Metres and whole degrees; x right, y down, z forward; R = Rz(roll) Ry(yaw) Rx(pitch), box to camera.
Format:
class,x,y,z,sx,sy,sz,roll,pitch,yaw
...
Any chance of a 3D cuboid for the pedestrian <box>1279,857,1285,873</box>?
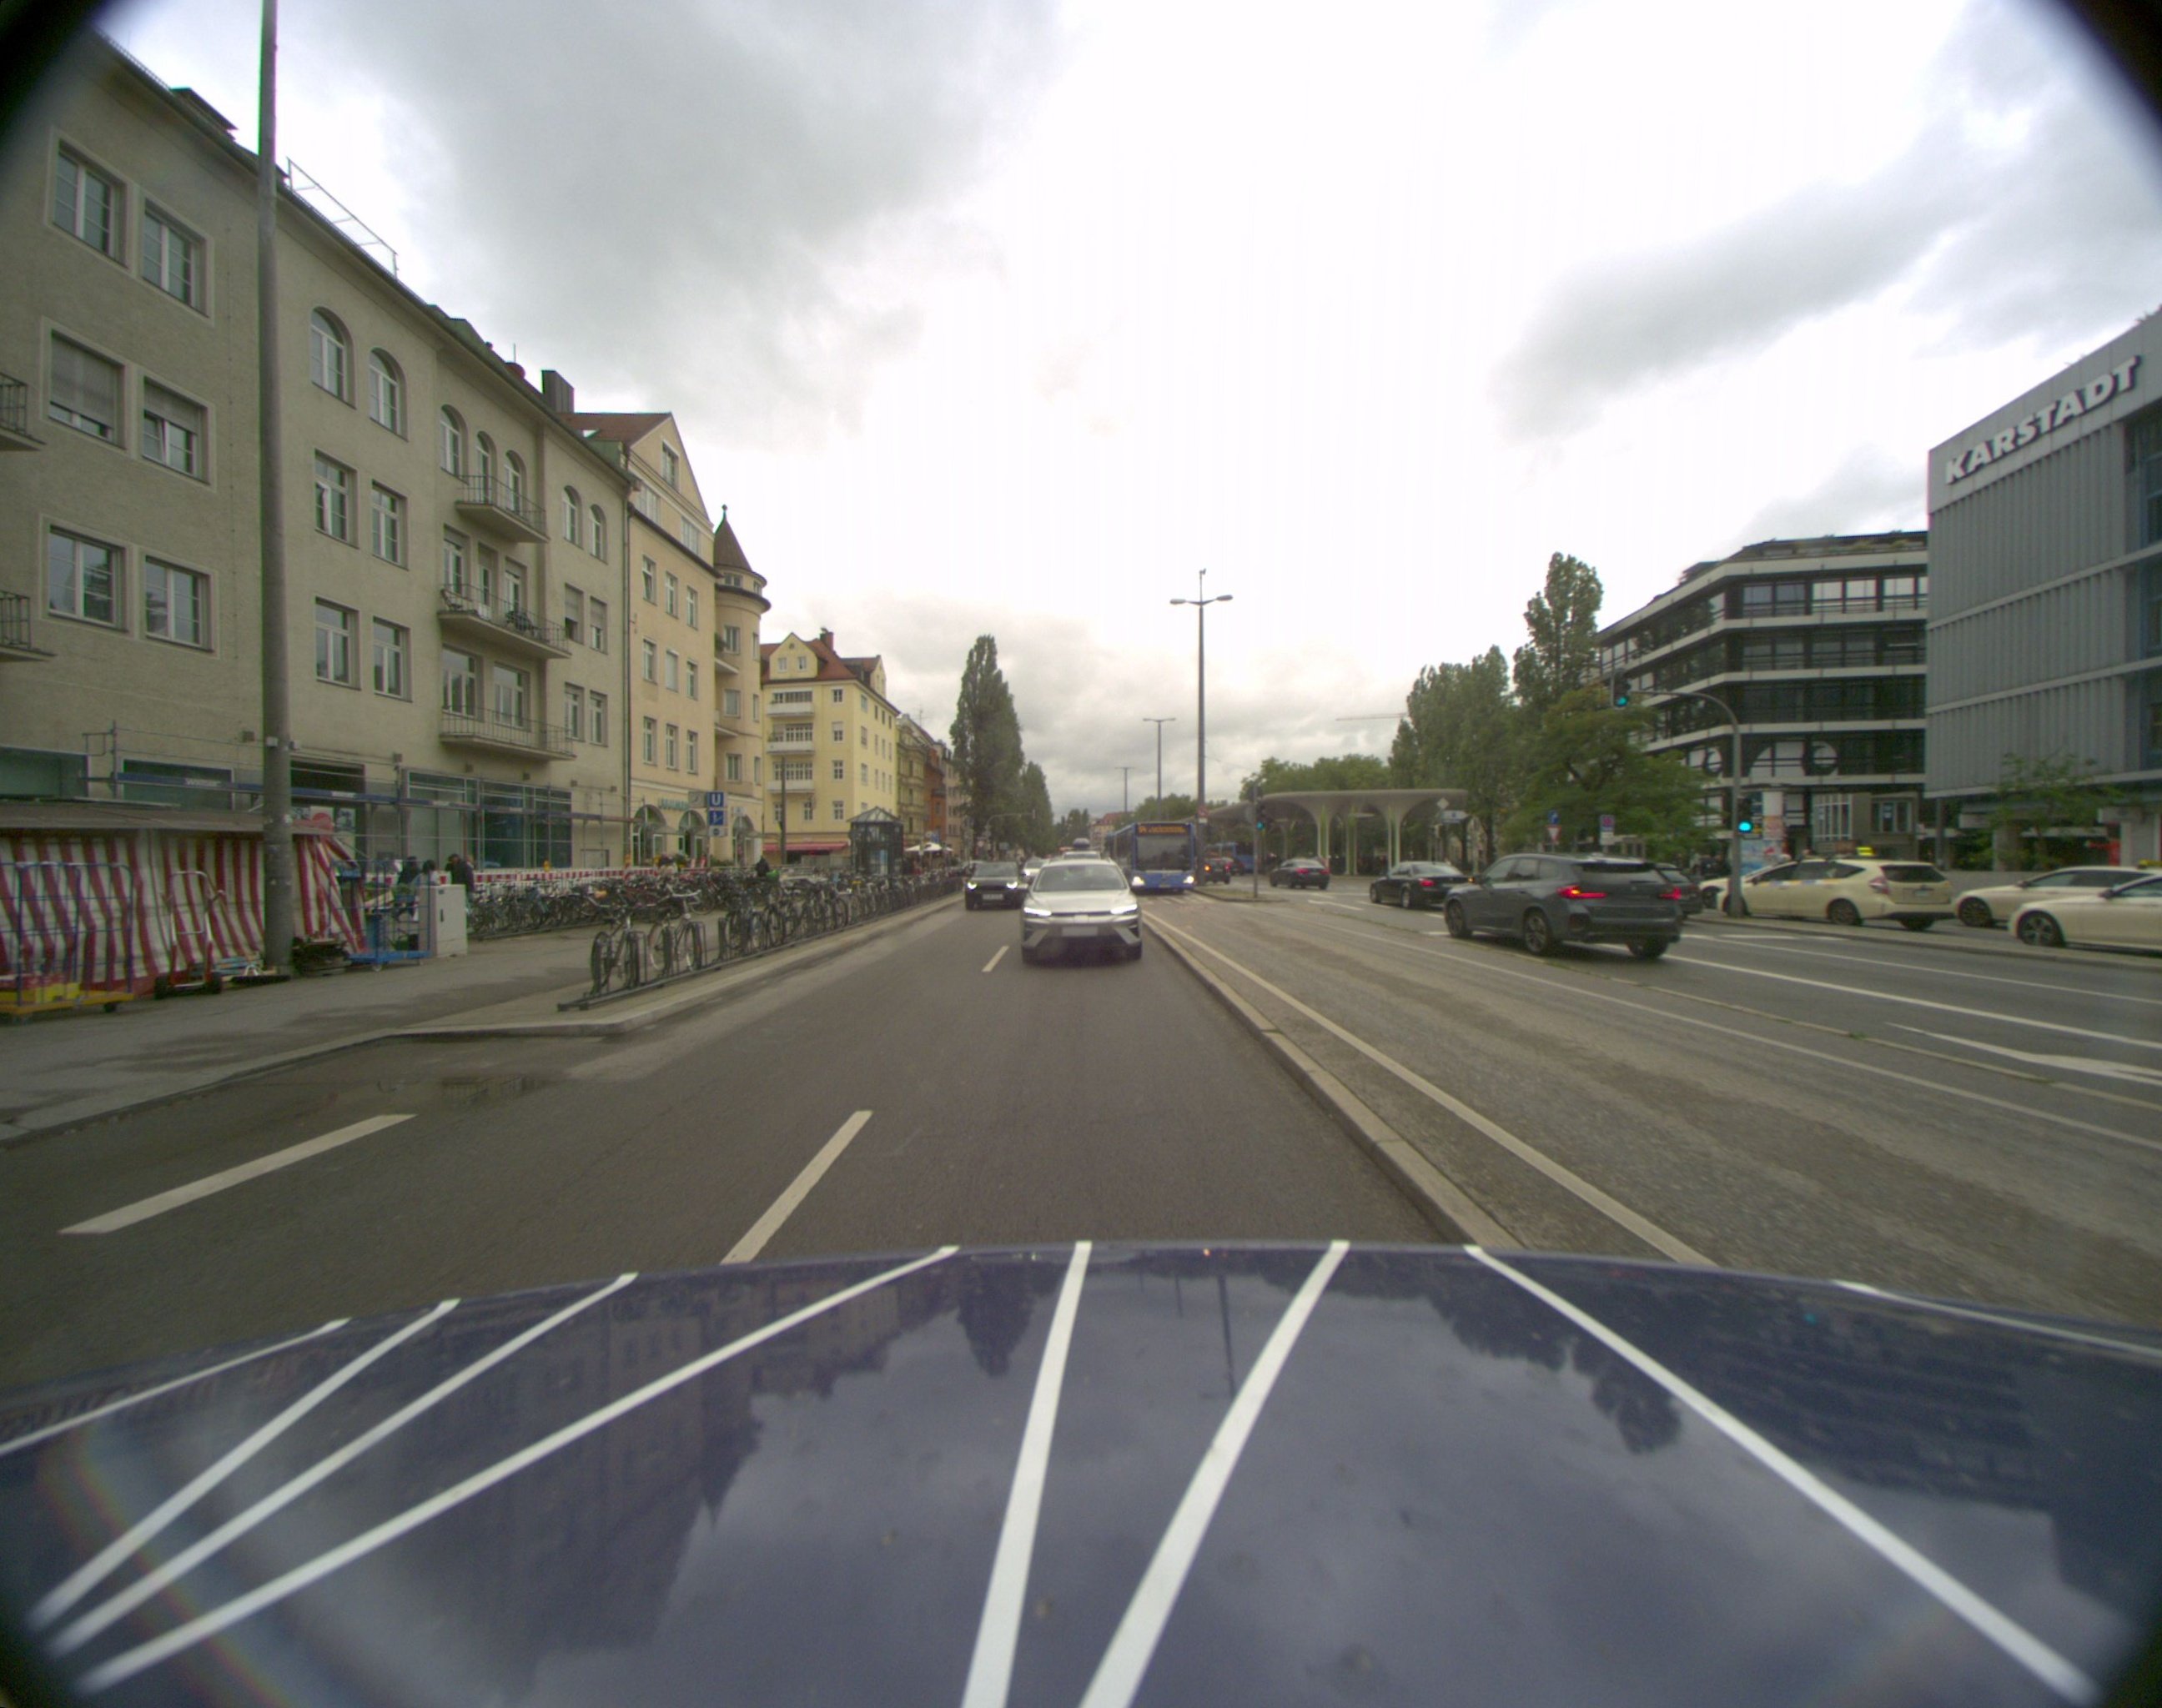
class,x,y,z,sx,sy,sz,roll,pitch,yaw
pedestrian,18.466,0.978,69.827,0.426,1.493,0.490,0,1,26

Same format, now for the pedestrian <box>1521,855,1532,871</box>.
class,x,y,z,sx,sy,sz,roll,pitch,yaw
pedestrian,49.532,0.976,84.414,0.800,1.714,0.827,0,0,12

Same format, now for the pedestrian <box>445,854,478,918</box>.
class,x,y,z,sx,sy,sz,roll,pitch,yaw
pedestrian,-16.422,0.837,20.138,0.539,1.664,0.506,-1,1,38

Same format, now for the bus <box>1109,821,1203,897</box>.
class,x,y,z,sx,sy,sz,roll,pitch,yaw
bus,3.144,0.156,35.294,2.942,2.927,11.210,-1,1,-1

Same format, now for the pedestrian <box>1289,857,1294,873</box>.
class,x,y,z,sx,sy,sz,roll,pitch,yaw
pedestrian,19.273,0.994,69.570,0.335,1.493,0.317,0,1,-9

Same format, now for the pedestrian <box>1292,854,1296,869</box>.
class,x,y,z,sx,sy,sz,roll,pitch,yaw
pedestrian,19.428,0.723,69.247,0.303,1.369,0.270,0,1,-2

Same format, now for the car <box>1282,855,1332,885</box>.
class,x,y,z,sx,sy,sz,roll,pitch,yaw
car,13.763,0.946,46.583,1.998,1.767,4.600,0,0,4

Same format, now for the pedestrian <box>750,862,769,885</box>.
class,x,y,z,sx,sy,sz,roll,pitch,yaw
pedestrian,-17.999,1.076,42.582,0.701,1.238,0.919,0,2,-1

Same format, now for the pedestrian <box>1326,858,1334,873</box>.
class,x,y,z,sx,sy,sz,roll,pitch,yaw
pedestrian,22.362,1.043,68.216,0.549,1.330,0.592,0,0,0

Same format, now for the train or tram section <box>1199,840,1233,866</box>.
class,x,y,z,sx,sy,sz,roll,pitch,yaw
train or tram section,16.238,-0.083,91.972,2.840,2.983,7.407,0,0,0

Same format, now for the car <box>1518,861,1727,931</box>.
class,x,y,z,sx,sy,sz,roll,pitch,yaw
car,13.767,0.974,19.790,1.964,1.537,4.948,1,0,1

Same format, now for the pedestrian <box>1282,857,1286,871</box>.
class,x,y,z,sx,sy,sz,roll,pitch,yaw
pedestrian,18.546,0.911,69.310,0.316,1.335,0.339,0,1,17

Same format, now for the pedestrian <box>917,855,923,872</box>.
class,x,y,z,sx,sy,sz,roll,pitch,yaw
pedestrian,-15.937,0.947,75.206,0.552,1.675,0.585,0,0,1

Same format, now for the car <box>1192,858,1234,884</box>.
class,x,y,z,sx,sy,sz,roll,pitch,yaw
car,7.934,0.994,45.983,1.562,1.498,2.785,0,0,-13

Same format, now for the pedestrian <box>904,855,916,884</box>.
class,x,y,z,sx,sy,sz,roll,pitch,yaw
pedestrian,-10.752,0.964,47.841,0.641,1.767,0.609,-1,1,-23

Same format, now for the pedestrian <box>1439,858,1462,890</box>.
class,x,y,z,sx,sy,sz,roll,pitch,yaw
pedestrian,17.975,0.955,36.945,0.640,1.542,0.759,-2,1,-25

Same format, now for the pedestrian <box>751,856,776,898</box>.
class,x,y,z,sx,sy,sz,roll,pitch,yaw
pedestrian,-12.901,0.918,30.863,0.741,1.698,0.703,0,0,-41

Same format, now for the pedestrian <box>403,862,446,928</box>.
class,x,y,z,sx,sy,sz,roll,pitch,yaw
pedestrian,-15.686,0.965,18.161,0.560,1.531,0.466,-2,1,1

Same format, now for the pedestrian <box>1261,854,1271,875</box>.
class,x,y,z,sx,sy,sz,roll,pitch,yaw
pedestrian,15.768,0.910,64.791,0.711,1.738,0.788,0,0,0

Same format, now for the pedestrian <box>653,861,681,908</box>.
class,x,y,z,sx,sy,sz,roll,pitch,yaw
pedestrian,-13.829,1.007,25.389,0.662,1.573,0.536,0,0,-11

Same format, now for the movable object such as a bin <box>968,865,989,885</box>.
class,x,y,z,sx,sy,sz,roll,pitch,yaw
movable object such as a bin,-5.767,1.191,42.763,1.089,1.056,0.747,2,1,-3

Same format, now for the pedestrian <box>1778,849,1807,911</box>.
class,x,y,z,sx,sy,sz,roll,pitch,yaw
pedestrian,18.991,0.686,20.296,0.365,1.646,0.425,-2,1,0

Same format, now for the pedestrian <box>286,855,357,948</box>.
class,x,y,z,sx,sy,sz,roll,pitch,yaw
pedestrian,-15.235,0.923,15.256,0.718,1.818,0.728,0,0,-14

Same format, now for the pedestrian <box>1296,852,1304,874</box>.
class,x,y,z,sx,sy,sz,roll,pitch,yaw
pedestrian,18.958,0.775,65.751,0.666,1.840,0.789,0,0,20

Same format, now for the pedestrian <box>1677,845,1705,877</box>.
class,x,y,z,sx,sy,sz,roll,pitch,yaw
pedestrian,25.285,0.281,31.515,0.544,1.301,0.774,0,0,1

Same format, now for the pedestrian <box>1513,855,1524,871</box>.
class,x,y,z,sx,sy,sz,roll,pitch,yaw
pedestrian,48.581,1.004,84.372,0.800,1.714,0.827,0,0,12

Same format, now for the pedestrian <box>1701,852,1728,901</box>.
class,x,y,z,sx,sy,sz,roll,pitch,yaw
pedestrian,23.190,0.804,27.822,0.562,1.768,0.510,-2,1,3

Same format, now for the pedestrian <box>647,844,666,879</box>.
class,x,y,z,sx,sy,sz,roll,pitch,yaw
pedestrian,-18.708,0.336,33.500,0.588,1.533,0.568,2,2,41

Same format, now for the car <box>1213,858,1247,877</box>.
class,x,y,z,sx,sy,sz,roll,pitch,yaw
car,13.039,1.176,66.626,1.999,1.567,4.616,0,0,-1

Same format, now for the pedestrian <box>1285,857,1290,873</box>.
class,x,y,z,sx,sy,sz,roll,pitch,yaw
pedestrian,18.929,0.997,69.669,0.320,1.493,0.317,0,1,-9

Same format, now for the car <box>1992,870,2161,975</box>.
class,x,y,z,sx,sy,sz,roll,pitch,yaw
car,17.281,1.064,11.399,1.949,1.531,4.851,0,0,10

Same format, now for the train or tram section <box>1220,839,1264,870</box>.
class,x,y,z,sx,sy,sz,roll,pitch,yaw
train or tram section,16.234,0.062,77.152,2.840,2.983,7.407,0,0,0

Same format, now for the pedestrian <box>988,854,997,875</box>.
class,x,y,z,sx,sy,sz,roll,pitch,yaw
pedestrian,-7.797,0.906,67.172,0.732,1.792,0.710,0,2,-9

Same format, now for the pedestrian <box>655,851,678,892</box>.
class,x,y,z,sx,sy,sz,roll,pitch,yaw
pedestrian,-17.734,0.755,32.527,0.618,1.728,0.645,1,0,-1

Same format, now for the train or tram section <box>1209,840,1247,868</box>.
class,x,y,z,sx,sy,sz,roll,pitch,yaw
train or tram section,16.242,-0.009,84.561,2.840,2.983,7.407,0,0,0

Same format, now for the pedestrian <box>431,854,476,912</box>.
class,x,y,z,sx,sy,sz,roll,pitch,yaw
pedestrian,-17.812,0.812,21.576,0.564,1.622,0.835,0,0,3

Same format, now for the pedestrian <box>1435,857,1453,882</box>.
class,x,y,z,sx,sy,sz,roll,pitch,yaw
pedestrian,26.553,1.138,55.632,0.861,1.767,0.980,0,0,1

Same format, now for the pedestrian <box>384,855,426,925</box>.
class,x,y,z,sx,sy,sz,roll,pitch,yaw
pedestrian,-16.278,0.856,18.301,0.526,1.663,0.473,-1,1,8

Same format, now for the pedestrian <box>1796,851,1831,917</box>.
class,x,y,z,sx,sy,sz,roll,pitch,yaw
pedestrian,19.616,0.798,20.355,0.525,1.719,0.428,-2,1,0

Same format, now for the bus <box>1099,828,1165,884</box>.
class,x,y,z,sx,sy,sz,roll,pitch,yaw
bus,2.885,0.054,46.502,2.942,2.927,11.210,-1,1,-1

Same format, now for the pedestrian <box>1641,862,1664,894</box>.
class,x,y,z,sx,sy,sz,roll,pitch,yaw
pedestrian,31.466,1.327,41.859,0.765,1.725,0.648,0,1,-7
